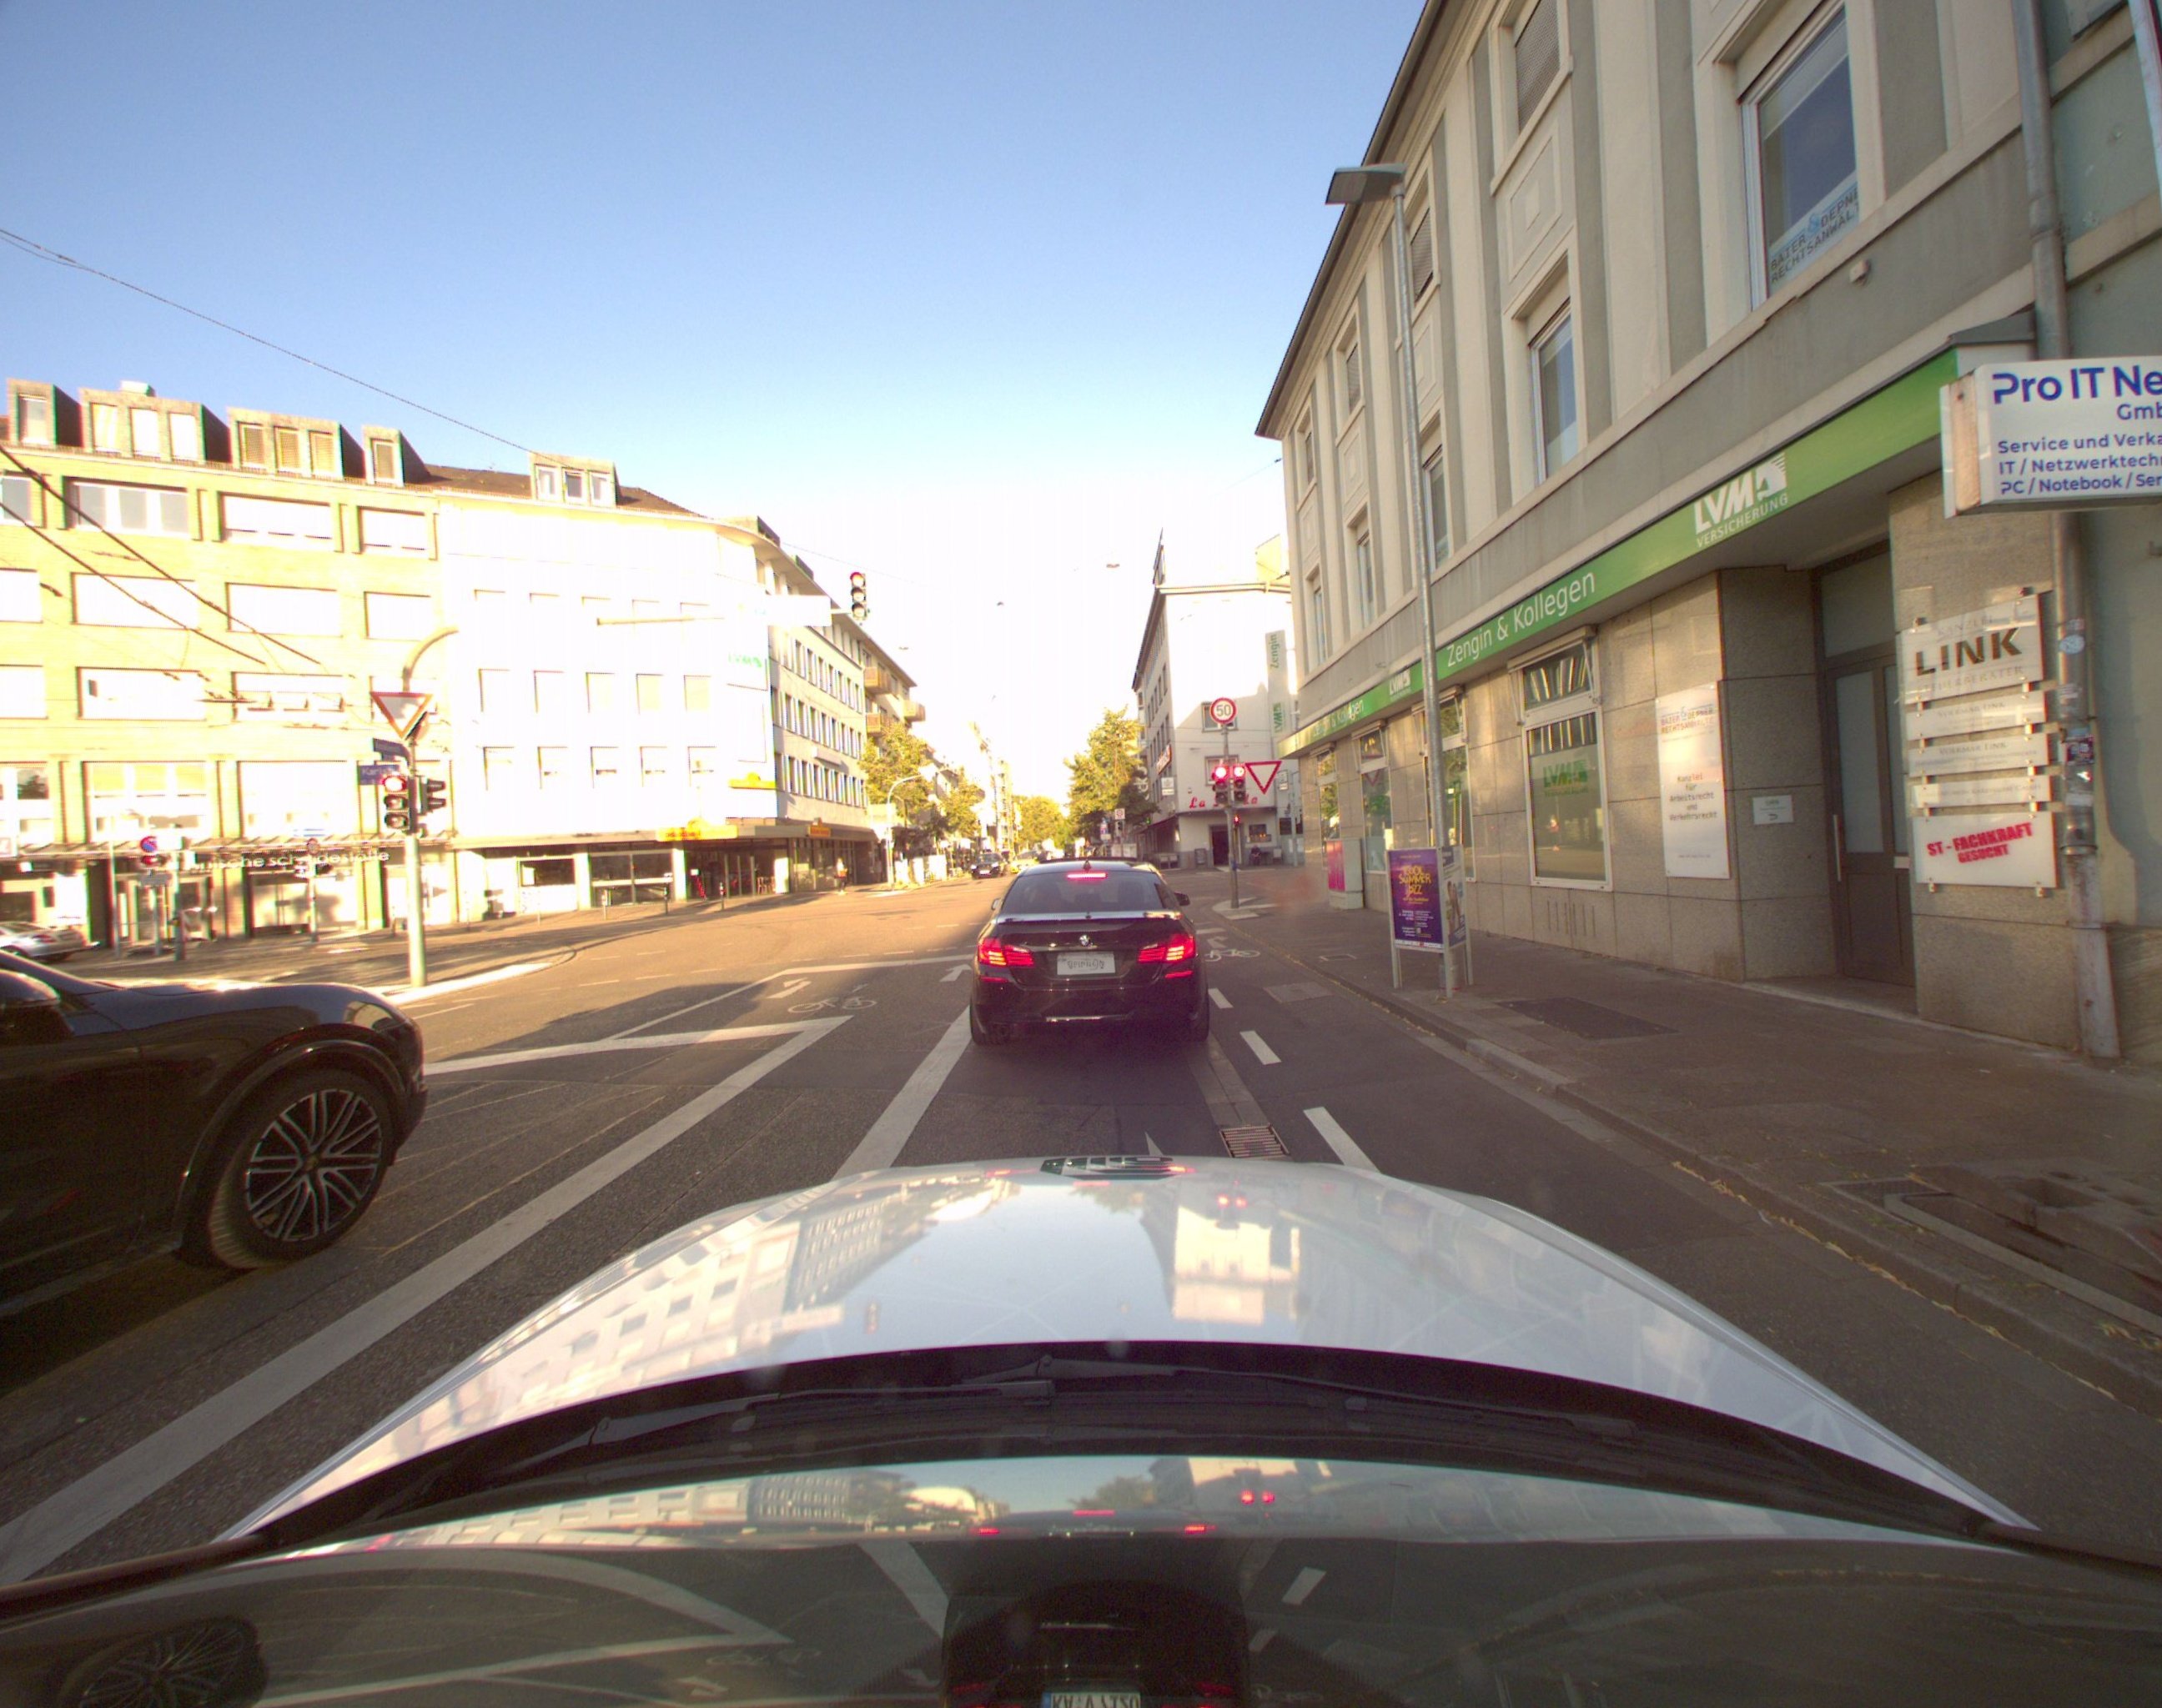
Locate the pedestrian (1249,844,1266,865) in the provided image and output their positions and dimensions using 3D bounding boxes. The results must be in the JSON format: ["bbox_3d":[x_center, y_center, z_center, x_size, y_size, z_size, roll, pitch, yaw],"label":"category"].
[{"bbox_3d":[10.006,0.014,46.235,0.695,1.157,0.843,-3,0,-1],"label":"pedestrian"}]

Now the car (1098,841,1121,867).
[{"bbox_3d":[2.124,0.034,61.113,1.417,1.854,3.050,-2,0,-2],"label":"car"}]

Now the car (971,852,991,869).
[{"bbox_3d":[-9.757,0.617,79.427,1.731,1.461,3.993,-3,0,-5],"label":"car"}]

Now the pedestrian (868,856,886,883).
[{"bbox_3d":[-13.226,1.008,52.797,0.821,1.676,0.871,-3,0,-1],"label":"pedestrian"}]

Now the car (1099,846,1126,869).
[{"bbox_3d":[2.097,0.221,54.709,1.620,1.471,3.394,-2,0,0],"label":"car"}]

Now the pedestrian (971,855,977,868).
[{"bbox_3d":[-11.640,0.819,88.531,0.443,1.416,0.525,-3,0,-2],"label":"pedestrian"}]

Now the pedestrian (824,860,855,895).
[{"bbox_3d":[-11.156,1.065,37.577,0.897,1.537,0.955,-3,0,36],"label":"pedestrian"}]

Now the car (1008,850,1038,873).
[{"bbox_3d":[-4.162,0.504,57.932,1.990,1.442,3.993,-3,0,-5],"label":"car"}]

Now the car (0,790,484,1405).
[{"bbox_3d":[-4.022,0.740,1.769,1.942,1.714,4.562,-4,0,0],"label":"car"}]

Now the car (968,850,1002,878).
[{"bbox_3d":[-6.136,0.638,52.539,1.990,1.618,3.993,-3,0,-5],"label":"car"}]

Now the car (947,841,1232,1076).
[{"bbox_3d":[0.048,0.694,7.767,1.898,1.540,4.448,-2,0,-1],"label":"car"}]

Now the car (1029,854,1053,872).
[{"bbox_3d":[-3.189,0.718,64.680,1.731,1.293,3.993,-3,0,-5],"label":"car"}]
